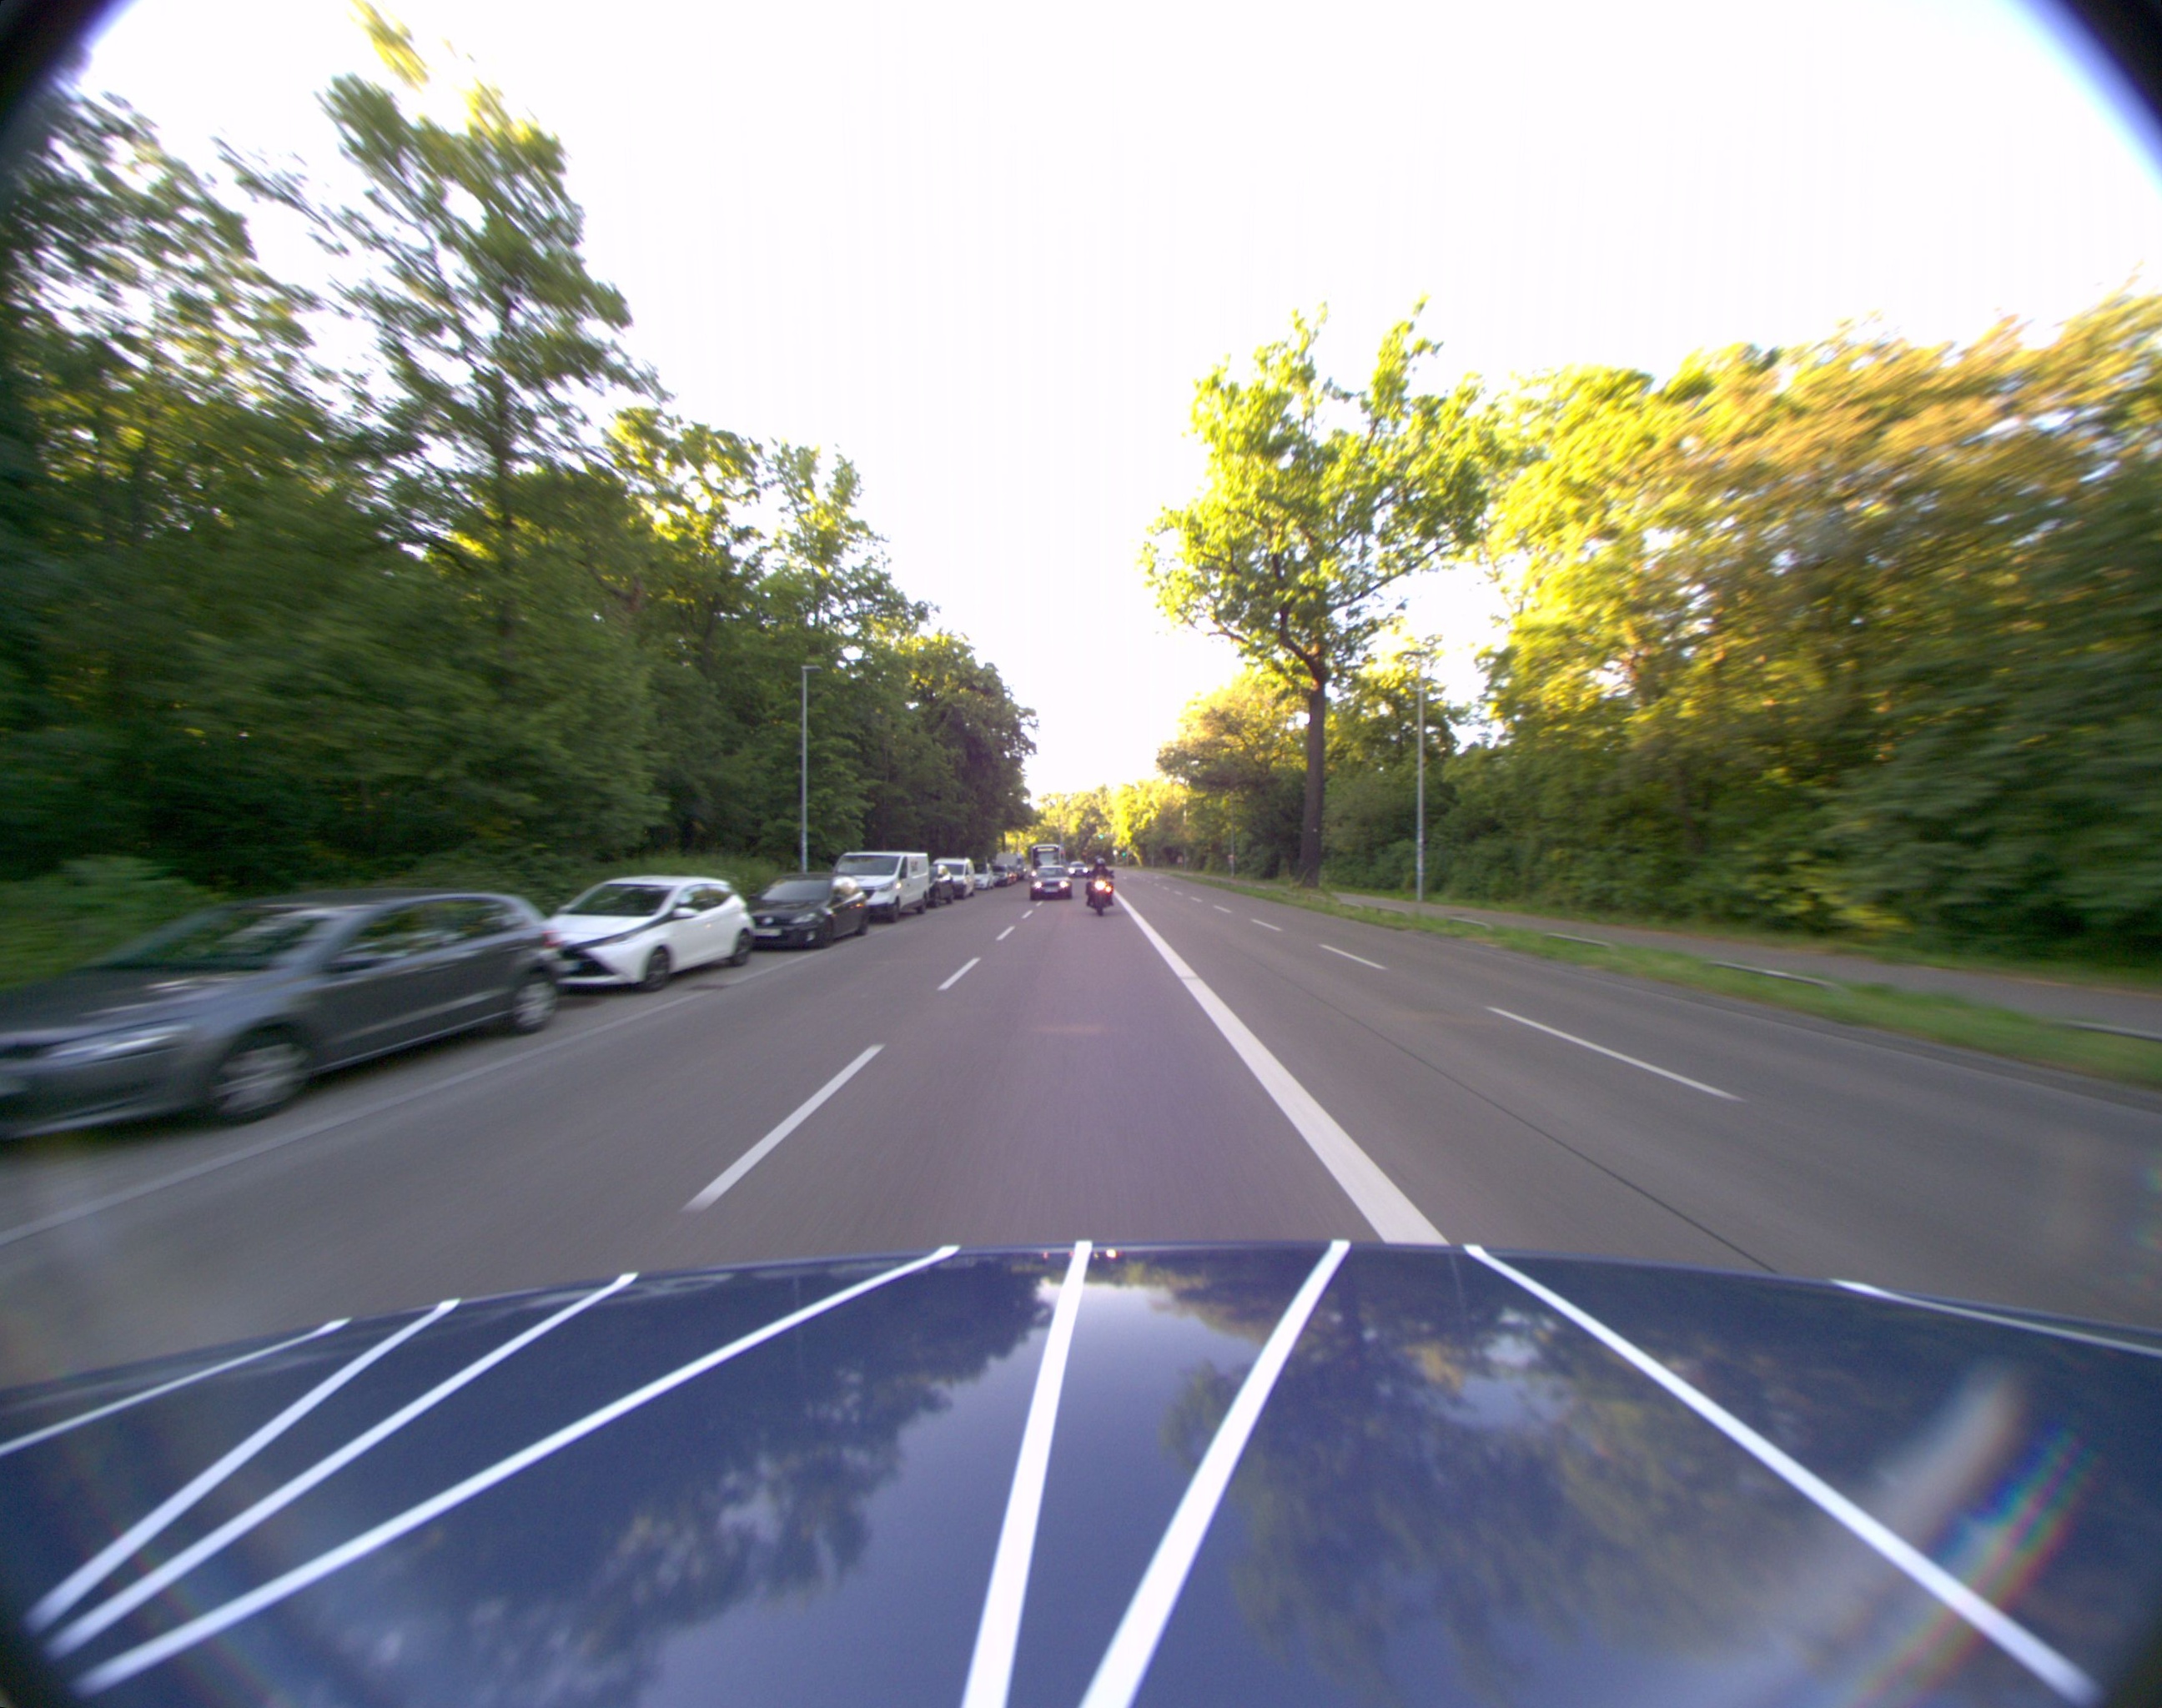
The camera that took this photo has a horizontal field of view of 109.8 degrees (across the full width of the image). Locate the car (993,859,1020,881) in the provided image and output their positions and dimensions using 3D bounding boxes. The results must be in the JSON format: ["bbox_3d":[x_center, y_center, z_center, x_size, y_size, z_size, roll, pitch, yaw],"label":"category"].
[{"bbox_3d":[-5.571,1.193,57.550,1.682,1.526,4.352,0,0,-1],"label":"car"}]

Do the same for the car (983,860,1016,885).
[{"bbox_3d":[-5.463,1.206,51.585,1.763,1.526,4.988,0,0,-1],"label":"car"}]

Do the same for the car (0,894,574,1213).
[{"bbox_3d":[-6.141,1.155,5.983,1.589,1.445,3.943,0,0,1],"label":"car"}]

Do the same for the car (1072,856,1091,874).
[{"bbox_3d":[0.065,1.040,72.985,1.679,1.552,3.994,-2,0,1],"label":"car"}]

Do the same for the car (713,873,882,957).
[{"bbox_3d":[-5.727,1.164,16.007,1.873,1.398,4.369,0,0,1],"label":"car"}]

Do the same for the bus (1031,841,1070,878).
[{"bbox_3d":[-2.613,0.433,69.963,2.812,3.030,12.886,-2,0,1],"label":"bus"}]

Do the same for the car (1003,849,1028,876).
[{"bbox_3d":[-6.049,0.740,70.507,1.909,2.409,5.574,0,0,-1],"label":"car"}]

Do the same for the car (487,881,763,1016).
[{"bbox_3d":[-6.219,1.186,10.940,1.589,1.445,3.798,0,0,2],"label":"car"}]

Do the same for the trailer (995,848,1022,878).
[{"bbox_3d":[-6.008,0.738,63.722,1.909,2.409,5.125,0,0,-1],"label":"trailer"}]

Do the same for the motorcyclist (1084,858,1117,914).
[{"bbox_3d":[0.530,0.864,20.943,0.830,1.484,1.024,-1,1,0],"label":"motorcyclist"}]

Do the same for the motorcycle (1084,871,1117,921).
[{"bbox_3d":[0.524,1.111,20.947,0.830,1.211,2.603,-1,0,1],"label":"motorcycle"}]

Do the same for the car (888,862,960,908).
[{"bbox_3d":[-5.849,1.100,28.771,1.763,1.538,4.428,0,0,1],"label":"car"}]

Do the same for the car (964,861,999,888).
[{"bbox_3d":[-5.896,1.198,45.368,1.589,1.486,3.180,0,0,2],"label":"car"}]

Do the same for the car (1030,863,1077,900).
[{"bbox_3d":[-1.101,1.131,32.366,1.678,1.351,3.994,-2,0,2],"label":"car"}]

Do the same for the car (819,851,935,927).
[{"bbox_3d":[-5.834,0.894,22.487,1.873,1.969,5.474,0,0,1],"label":"car"}]

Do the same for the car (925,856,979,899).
[{"bbox_3d":[-5.870,1.002,35.043,1.763,1.793,4.736,0,0,-1],"label":"car"}]
